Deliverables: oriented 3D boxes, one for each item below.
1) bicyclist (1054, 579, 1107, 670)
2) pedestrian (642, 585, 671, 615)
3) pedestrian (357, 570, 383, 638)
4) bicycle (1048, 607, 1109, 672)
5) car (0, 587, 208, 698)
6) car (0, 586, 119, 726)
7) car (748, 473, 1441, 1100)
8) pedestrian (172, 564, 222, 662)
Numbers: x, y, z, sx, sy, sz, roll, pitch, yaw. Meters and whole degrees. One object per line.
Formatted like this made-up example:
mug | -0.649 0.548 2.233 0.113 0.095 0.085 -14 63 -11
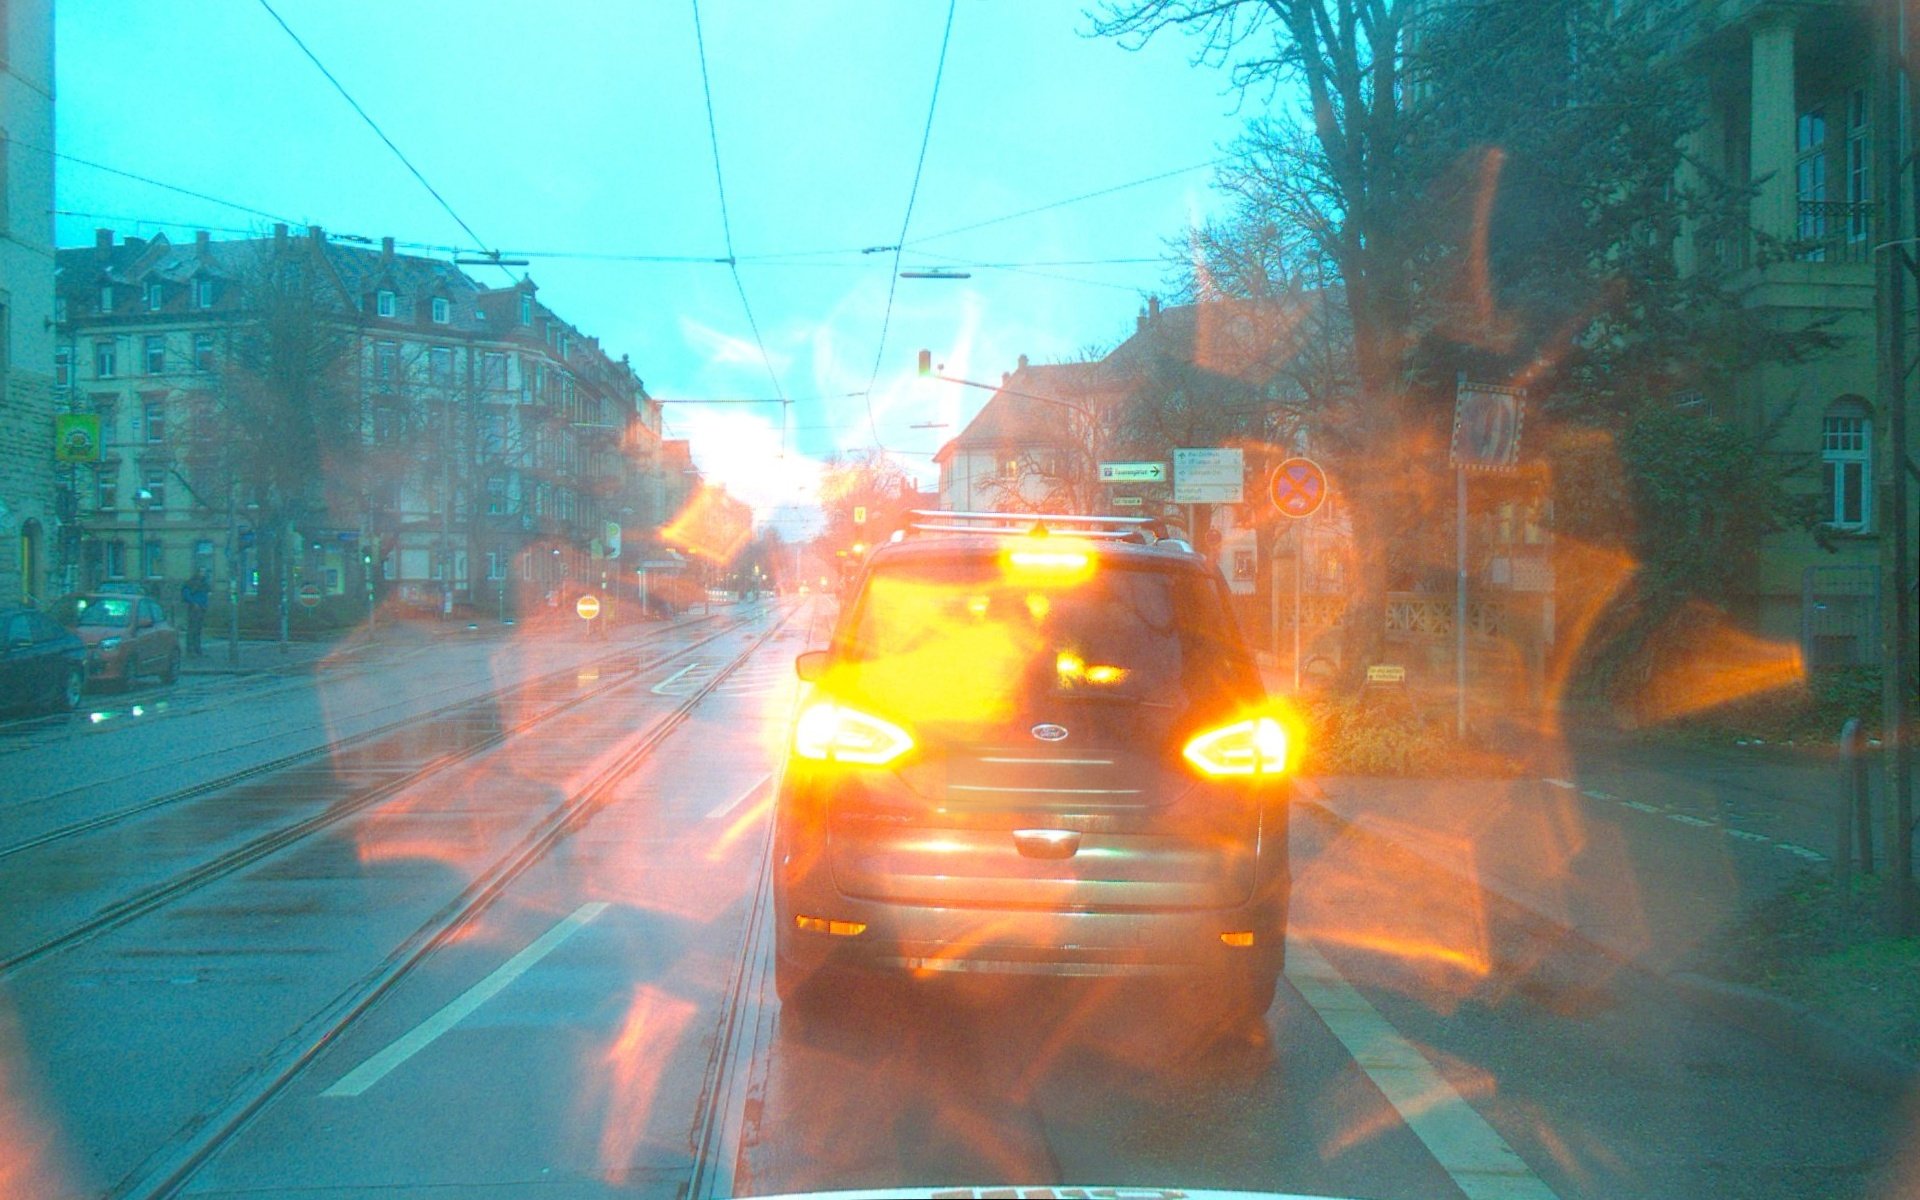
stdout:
bicyclist | 2.298 0.456 31.715 0.703 1.691 1.054 4 0 -9
pedestrian | -12.422 -0.004 67.731 1.027 1.221 0.884 1 0 -4
pedestrian | -17.704 0.115 49.642 0.695 2.049 0.656 0 0 -24
bicycle | 2.264 0.737 31.826 0.703 1.131 1.938 4 0 -9
car | -14.285 0.650 27.710 2.000 1.578 4.023 4 0 -9
car | -13.135 0.674 21.902 1.949 1.674 4.624 5 -1 -7
car | 0.324 0.556 7.334 2.061 1.848 4.658 2 0 -2
pedestrian | -16.234 0.269 35.179 0.742 2.049 0.646 0 -1 32
